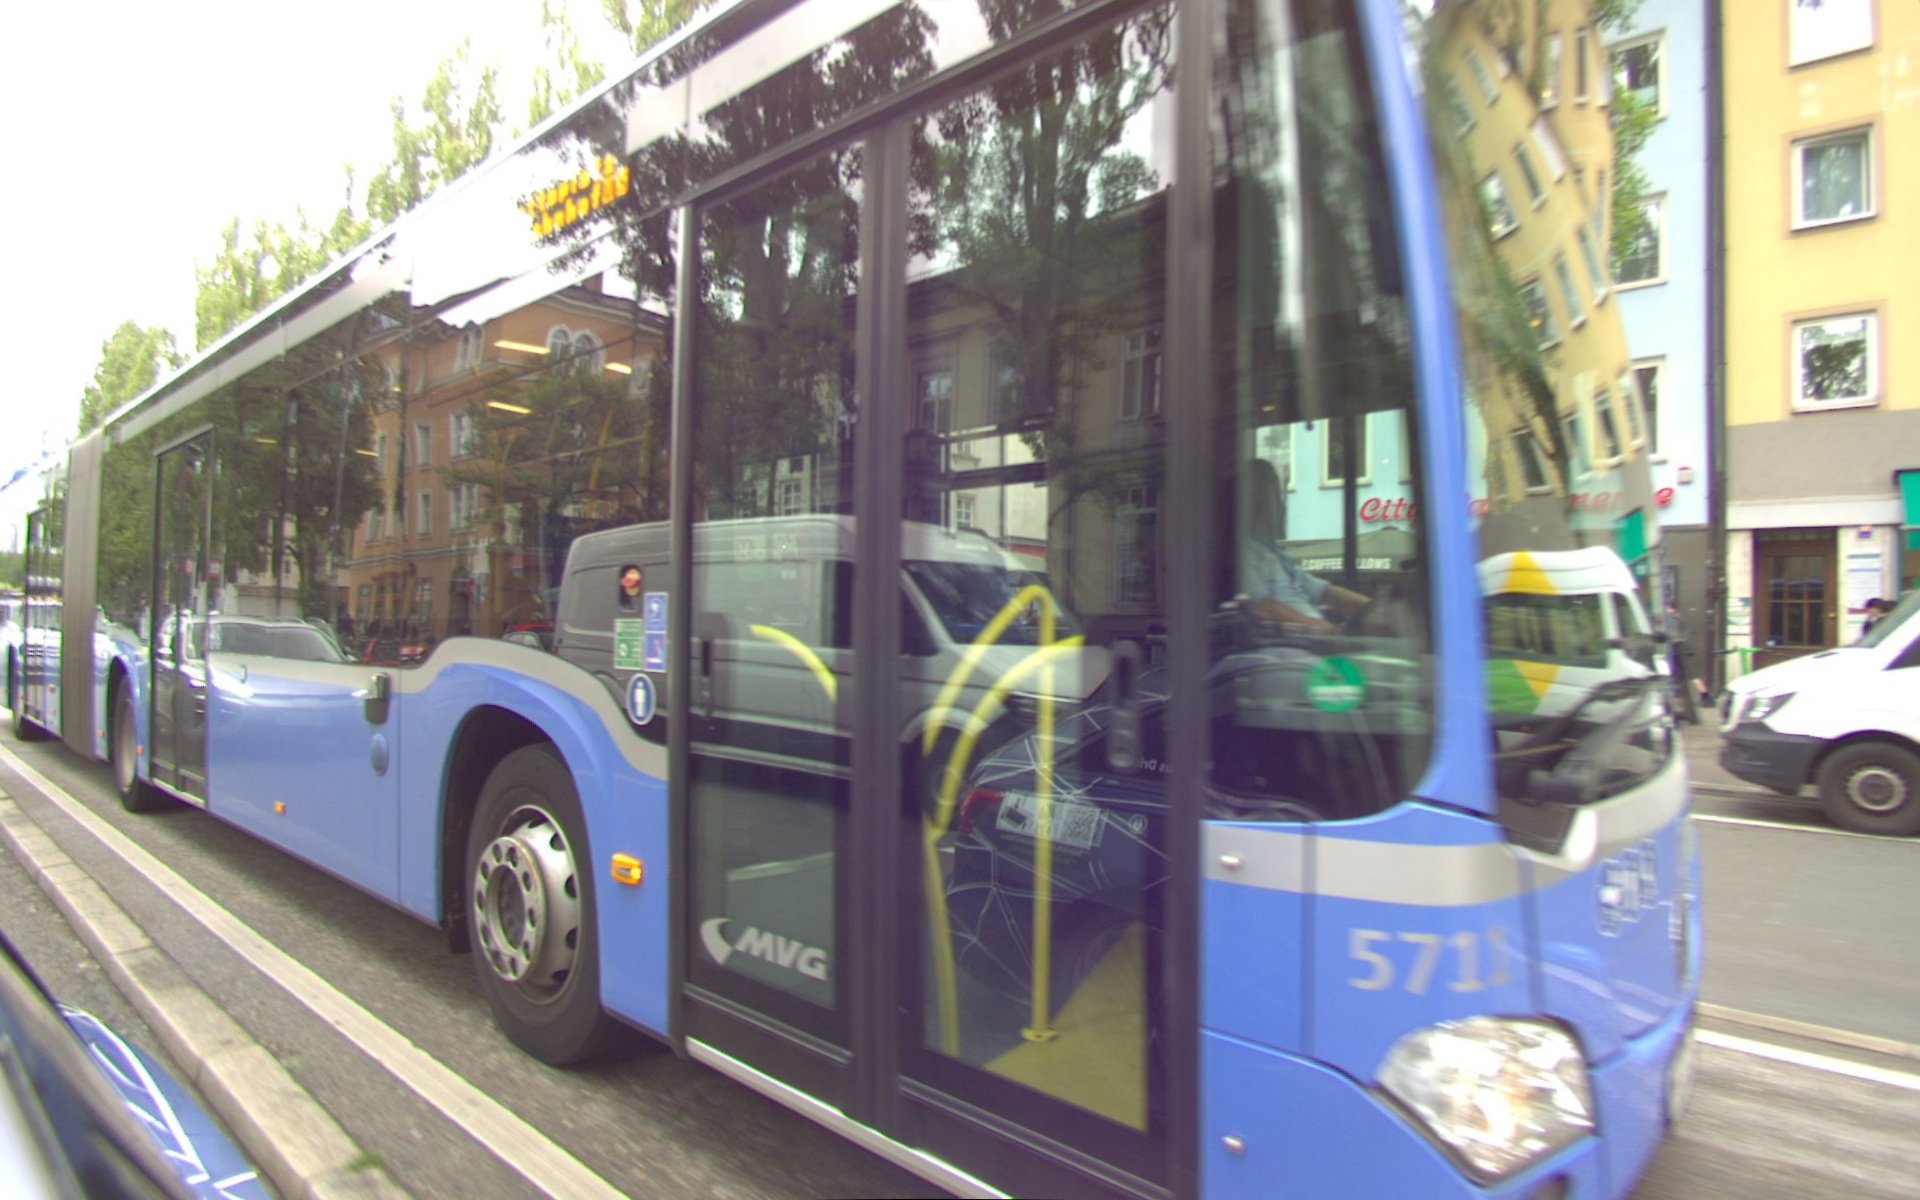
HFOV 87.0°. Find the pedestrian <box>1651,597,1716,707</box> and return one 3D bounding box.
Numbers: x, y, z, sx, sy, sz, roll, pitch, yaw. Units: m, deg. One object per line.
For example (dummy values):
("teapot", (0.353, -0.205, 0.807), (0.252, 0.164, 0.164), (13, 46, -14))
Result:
("pedestrian", (11.631, 0.821, 16.273), (0.689, 1.713, 0.727), (2, -3, -44))

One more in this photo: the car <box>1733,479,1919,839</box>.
("car", (9.353, 0.434, 6.454), (6.908, 2.587, 1.984), (-1, -3, 41))

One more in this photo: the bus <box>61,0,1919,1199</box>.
("bus", (-2.024, -0.101, 5.263), (10.047, 2.972, 2.661), (-1, -2, 41))

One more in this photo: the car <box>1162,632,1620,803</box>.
("car", (4.405, 1.094, 10.719), (4.146, 1.430, 1.719), (-1, -3, 41))

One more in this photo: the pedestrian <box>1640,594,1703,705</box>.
("pedestrian", (11.948, 0.816, 16.996), (0.689, 1.808, 0.727), (2, -3, -44))

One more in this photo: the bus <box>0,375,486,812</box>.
("bus", (-8.835, 0.036, 11.197), (10.047, 2.972, 2.655), (-1, -2, 41))

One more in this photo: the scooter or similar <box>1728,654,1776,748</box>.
("scooter or similar", (9.674, 1.195, 12.365), (0.421, 1.034, 1.756), (-1, -2, 38))

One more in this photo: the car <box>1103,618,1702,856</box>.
("car", (3.379, 0.898, 8.203), (4.128, 1.445, 1.727), (-1, -3, 41))
